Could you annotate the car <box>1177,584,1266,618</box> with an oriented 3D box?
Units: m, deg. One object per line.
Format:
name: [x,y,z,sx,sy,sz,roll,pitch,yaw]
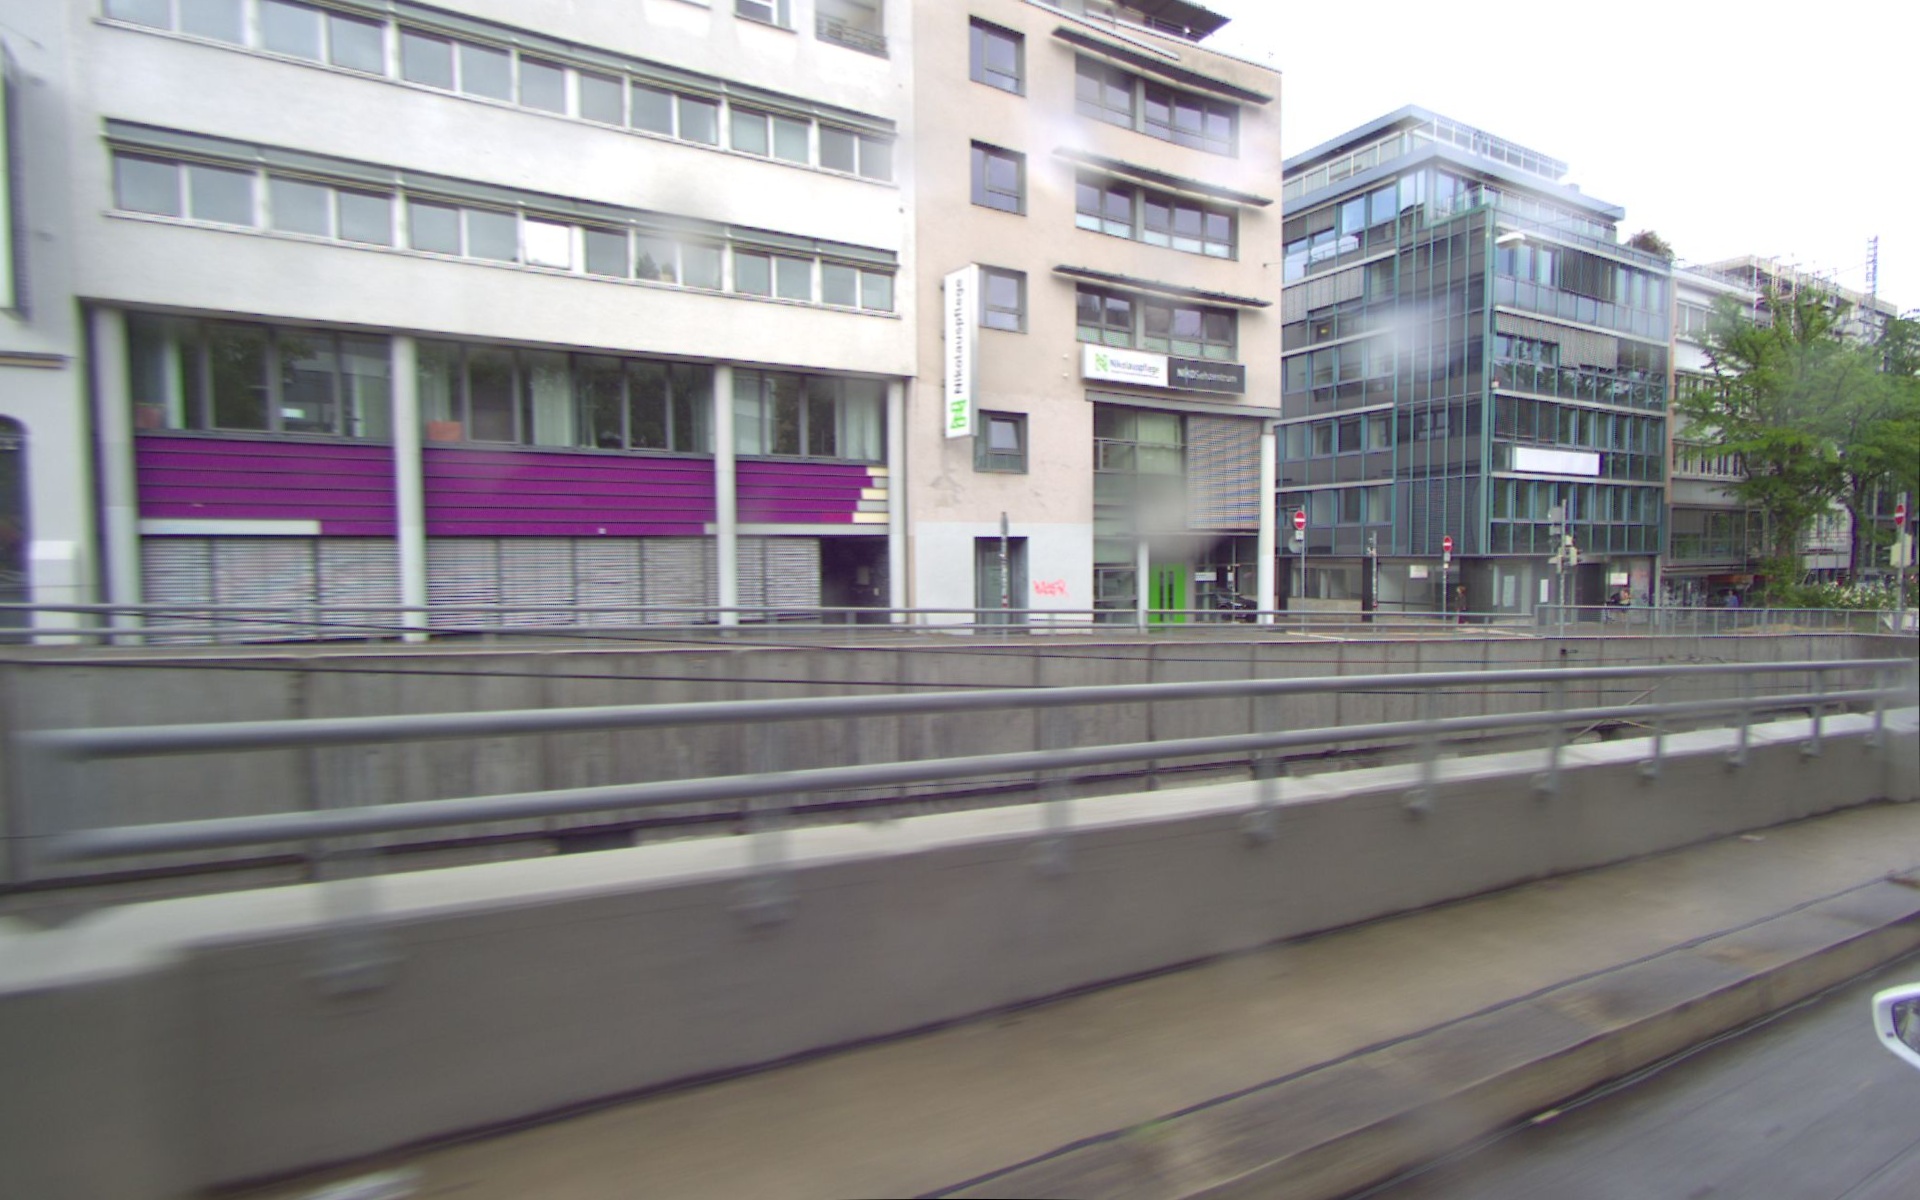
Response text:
car: [11.964,0.012,46.138,1.789,1.445,3.867,1,1,-28]

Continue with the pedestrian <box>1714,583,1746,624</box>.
pedestrian: [36.284,0.151,47.344,0.857,1.894,0.872,0,3,-31]

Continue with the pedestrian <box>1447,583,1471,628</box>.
pedestrian: [19.400,0.206,39.061,0.482,1.694,0.661,0,2,-31]

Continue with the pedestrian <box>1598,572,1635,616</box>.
pedestrian: [29.154,-0.268,44.622,0.943,1.893,0.865,1,2,-12]
